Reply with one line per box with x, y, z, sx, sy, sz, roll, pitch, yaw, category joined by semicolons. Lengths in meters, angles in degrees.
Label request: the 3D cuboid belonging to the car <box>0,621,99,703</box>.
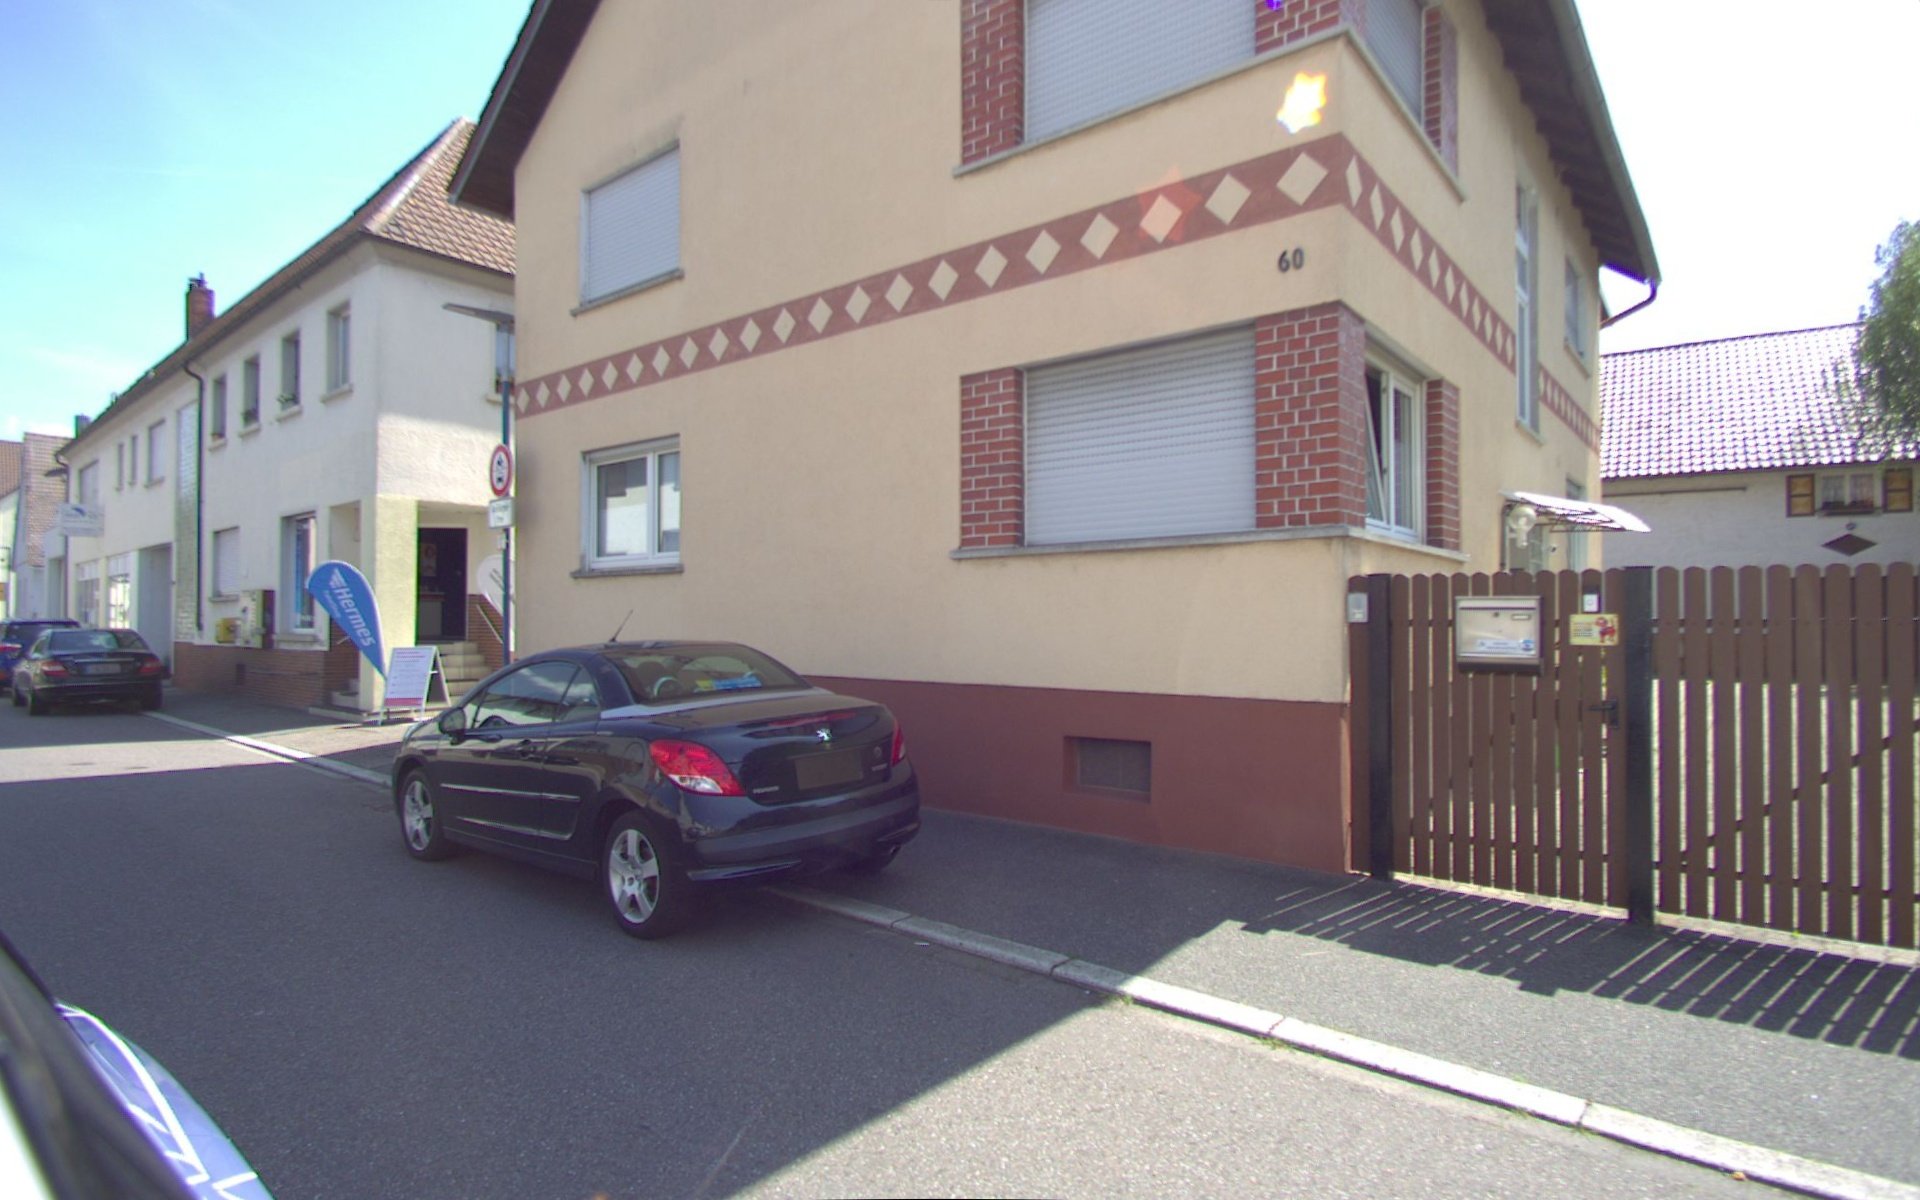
-20.507;1.322;22.257;4.145;1.652;1.699;-2;-4;40;car

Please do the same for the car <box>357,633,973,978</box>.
-2.030;0.928;6.251;4.064;1.384;1.743;-1;-1;41;car

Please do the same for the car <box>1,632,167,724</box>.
-15.706;1.302;18.067;4.388;1.422;1.679;-2;-2;42;car
